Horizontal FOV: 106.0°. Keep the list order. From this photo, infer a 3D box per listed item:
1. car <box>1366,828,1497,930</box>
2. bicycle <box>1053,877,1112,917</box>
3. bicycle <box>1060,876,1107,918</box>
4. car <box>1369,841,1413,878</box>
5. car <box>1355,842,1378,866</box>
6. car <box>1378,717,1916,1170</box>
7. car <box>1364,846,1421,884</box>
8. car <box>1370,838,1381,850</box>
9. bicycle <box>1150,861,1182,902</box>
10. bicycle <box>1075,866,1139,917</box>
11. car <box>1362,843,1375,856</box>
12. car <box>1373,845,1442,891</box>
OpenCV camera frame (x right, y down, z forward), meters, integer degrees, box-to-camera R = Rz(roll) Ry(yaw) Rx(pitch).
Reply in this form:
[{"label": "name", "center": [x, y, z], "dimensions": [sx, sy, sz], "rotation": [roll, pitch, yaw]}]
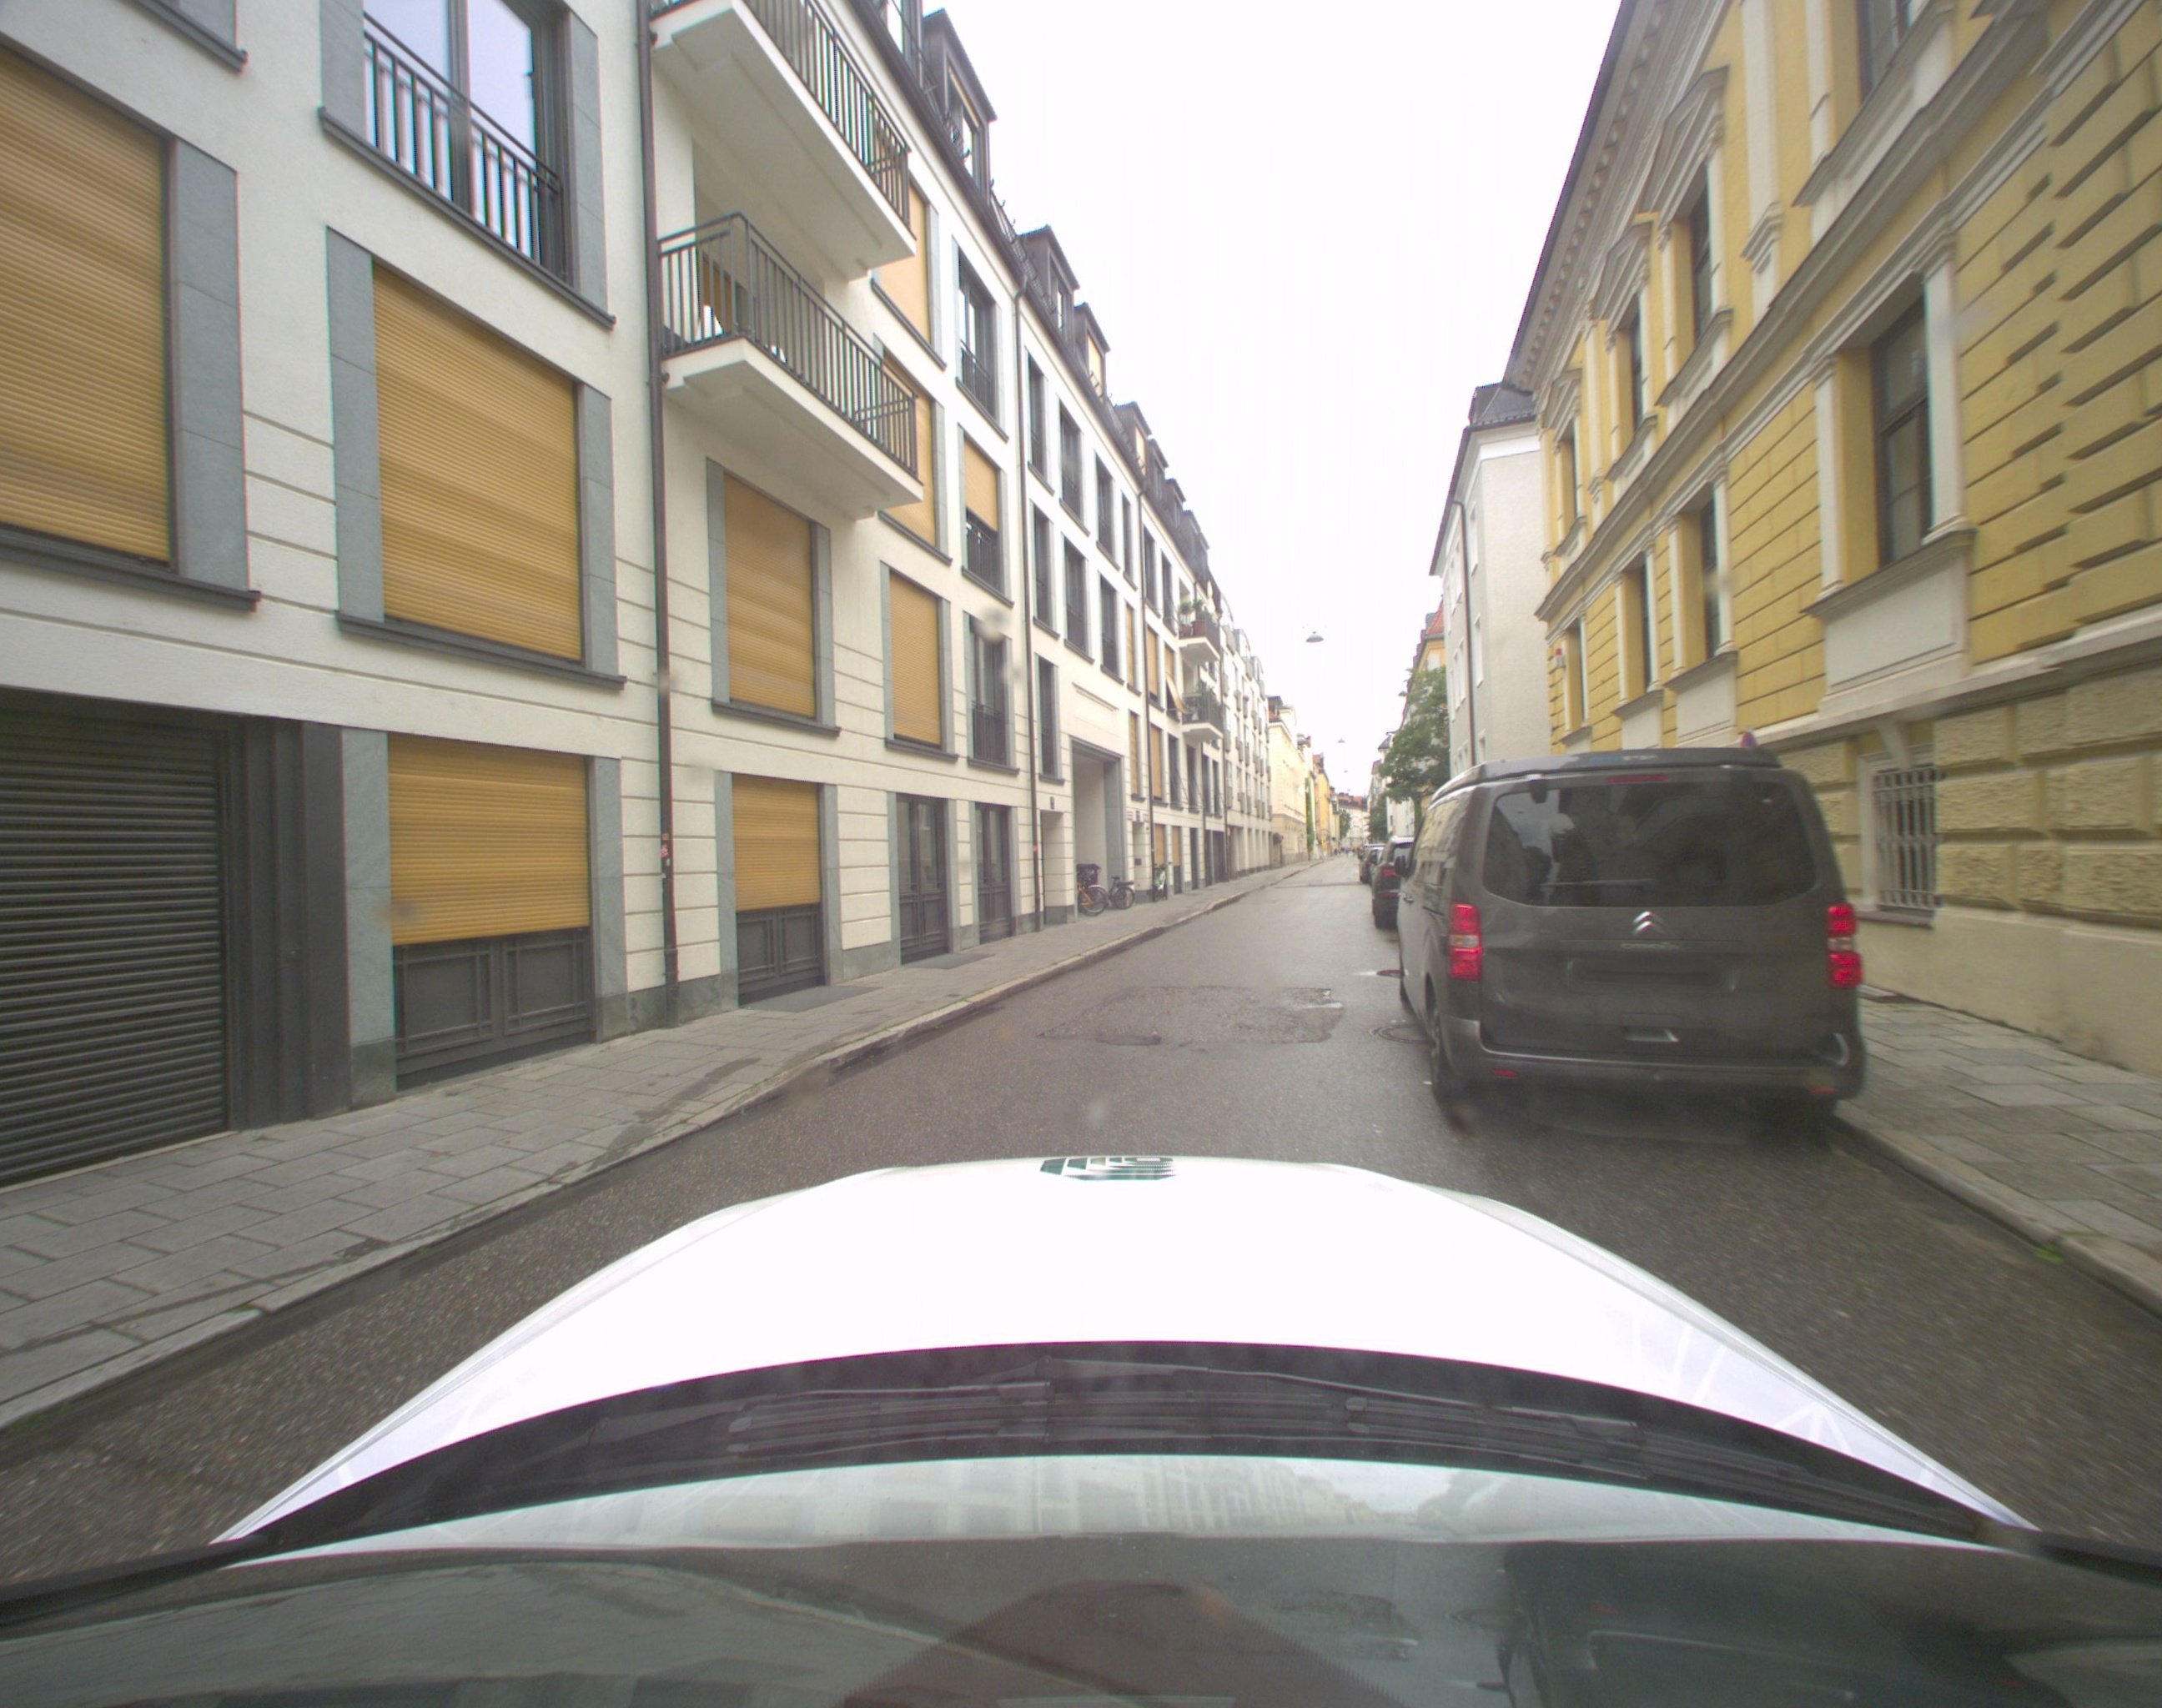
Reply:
[{"label": "car", "center": [6.556, 0.407, 15.661], "dimensions": [1.878, 1.641, 4.342], "rotation": [-3, 0, 18]}, {"label": "bicycle", "center": [0.037, 1.061, 20.151], "dimensions": [1.389, 0.888, 0.378], "rotation": [-2, 1, -15]}, {"label": "bicycle", "center": [0.060, 1.023, 19.452], "dimensions": [1.065, 0.947, 0.306], "rotation": [-2, 1, -15]}, {"label": "car", "center": [14.299, 0.219, 37.719], "dimensions": [1.687, 1.546, 3.792], "rotation": [-3, 0, 18]}, {"label": "car", "center": [24.057, -0.019, 68.677], "dimensions": [1.687, 1.900, 3.792], "rotation": [-3, 0, 18]}, {"label": "car", "center": [3.332, 0.374, 5.994], "dimensions": [1.977, 1.932, 4.682], "rotation": [-1, 0, 18]}, {"label": "car", "center": [12.422, 0.402, 32.674], "dimensions": [1.878, 1.376, 3.958], "rotation": [-3, 0, 18]}, {"label": "car", "center": [57.123, -1.970, 157.821], "dimensions": [1.852, 2.013, 4.020], "rotation": [-5, -1, 20]}, {"label": "bicycle", "center": [2.583, 0.804, 24.596], "dimensions": [0.337, 1.146, 2.202], "rotation": [-4, -1, 21]}, {"label": "bicycle", "center": [0.687, 0.957, 21.182], "dimensions": [1.690, 1.193, 0.377], "rotation": [-2, 1, -27]}, {"label": "car", "center": [44.254, -0.731, 125.342], "dimensions": [1.687, 1.917, 3.792], "rotation": [-3, 0, 18]}, {"label": "car", "center": [10.957, 0.418, 27.567], "dimensions": [1.878, 1.376, 3.814], "rotation": [-3, 0, 18]}]
